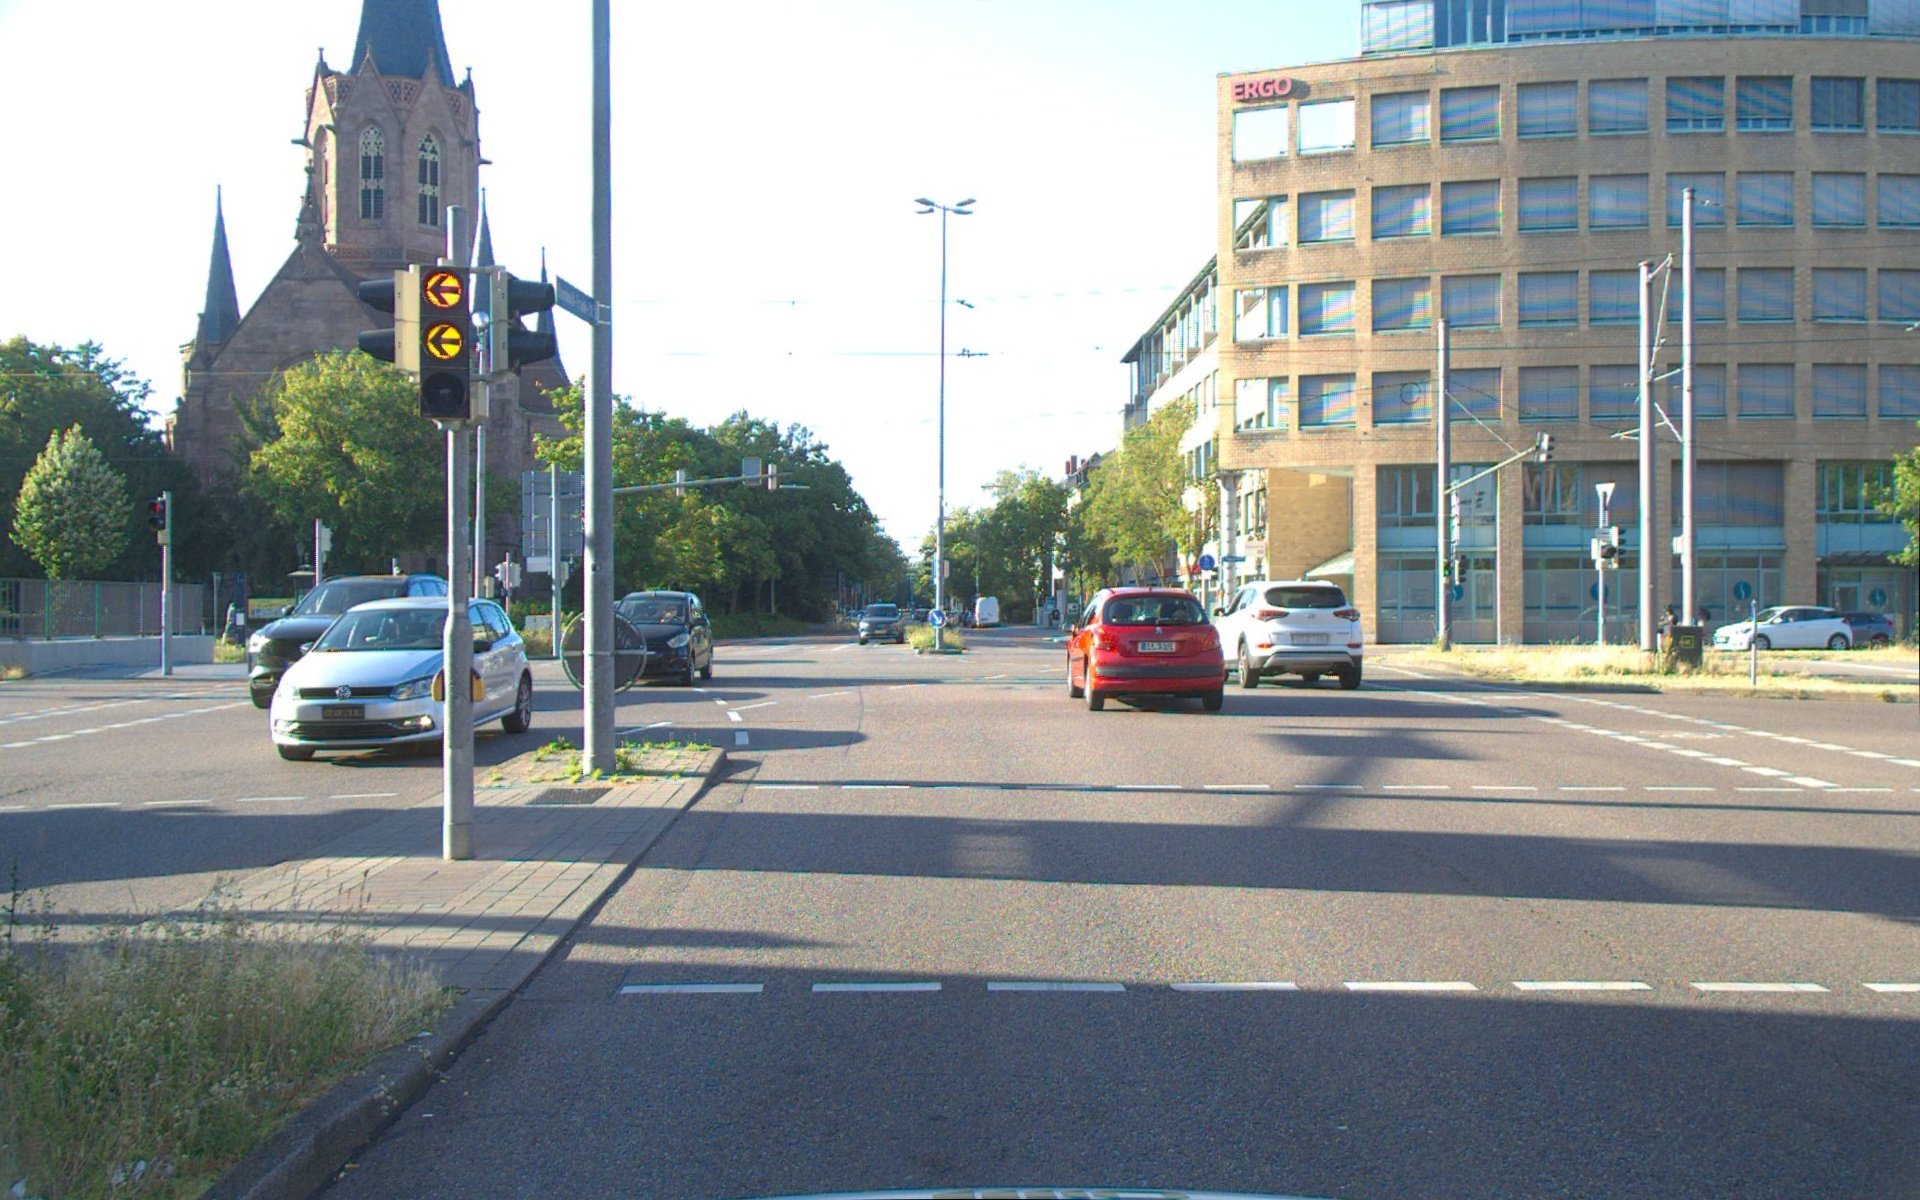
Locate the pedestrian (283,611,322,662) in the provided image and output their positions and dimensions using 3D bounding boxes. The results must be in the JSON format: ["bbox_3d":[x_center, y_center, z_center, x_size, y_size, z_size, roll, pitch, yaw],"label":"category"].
[{"bbox_3d":[-22.384,1.240,56.309,0.997,1.726,0.841,1,-1,37],"label":"pedestrian"}]

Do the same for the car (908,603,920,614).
[{"bbox_3d":[-6.964,1.303,250.982,1.848,1.700,3.999,1,0,-1],"label":"car"}]

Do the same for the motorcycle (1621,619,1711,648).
[{"bbox_3d":[24.294,1.146,56.925,2.663,0.981,1.031,0,-1,-2],"label":"motorcycle"}]

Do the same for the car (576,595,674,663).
[{"bbox_3d":[-8.583,0.699,42.716,1.758,1.593,4.146,-1,1,-2],"label":"car"}]

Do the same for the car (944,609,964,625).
[{"bbox_3d":[-0.510,1.406,135.337,1.562,1.289,3.266,0,0,-1],"label":"car"}]

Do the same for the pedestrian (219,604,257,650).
[{"bbox_3d":[-27.752,1.046,63.586,0.992,1.726,0.845,1,-1,11],"label":"pedestrian"}]

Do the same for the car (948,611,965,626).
[{"bbox_3d":[-0.313,1.695,150.572,1.562,1.289,3.266,0,0,-1],"label":"car"}]

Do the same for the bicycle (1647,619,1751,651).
[{"bbox_3d":[24.262,1.140,54.351,2.901,1.018,1.153,0,0,-3],"label":"bicycle"}]

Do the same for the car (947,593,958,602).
[{"bbox_3d":[-1.145,-0.359,255.024,1.562,1.289,3.266,0,0,-1],"label":"car"}]

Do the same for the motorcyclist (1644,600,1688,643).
[{"bbox_3d":[24.307,0.747,56.931,1.044,1.460,1.031,0,-1,-2],"label":"motorcyclist"}]

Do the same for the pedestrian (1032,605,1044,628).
[{"bbox_3d":[6.160,1.316,130.770,0.830,1.835,0.775,0,0,-1],"label":"pedestrian"}]

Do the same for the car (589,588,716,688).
[{"bbox_3d":[-5.212,0.601,28.387,1.546,1.571,3.476,-2,0,-1],"label":"car"}]

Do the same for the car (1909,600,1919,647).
[{"bbox_3d":[32.422,0.736,52.185,3.970,1.518,1.819,0,-1,-2],"label":"car"}]

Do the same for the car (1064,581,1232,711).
[{"bbox_3d":[2.323,0.550,21.344,1.636,1.488,3.999,1,0,-1],"label":"car"}]

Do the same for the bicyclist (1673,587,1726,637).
[{"bbox_3d":[24.304,0.392,54.350,1.198,1.599,1.153,0,0,-3],"label":"bicyclist"}]

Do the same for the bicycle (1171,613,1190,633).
[{"bbox_3d":[11.295,1.167,84.706,0.633,1.012,2.080,0,0,-2],"label":"bicycle"}]

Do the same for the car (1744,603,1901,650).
[{"bbox_3d":[29.755,0.898,57.119,4.390,1.564,1.986,0,-1,-1],"label":"car"}]

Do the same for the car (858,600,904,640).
[{"bbox_3d":[-3.535,0.922,74.751,1.953,1.754,5.029,-1,-1,-2],"label":"car"}]

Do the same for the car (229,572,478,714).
[{"bbox_3d":[-8.367,0.523,23.317,1.779,1.740,4.785,-2,0,-1],"label":"car"}]

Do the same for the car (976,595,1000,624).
[{"bbox_3d":[2.402,0.854,144.531,1.953,2.483,3.999,1,0,-1],"label":"car"}]

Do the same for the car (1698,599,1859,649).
[{"bbox_3d":[25.662,0.759,51.928,4.080,1.518,1.994,0,-1,-3],"label":"car"}]

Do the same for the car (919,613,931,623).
[{"bbox_3d":[-4.462,2.297,212.839,1.562,1.289,3.266,0,0,-1],"label":"car"}]

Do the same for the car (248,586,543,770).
[{"bbox_3d":[-5.447,0.668,16.466,1.641,1.571,3.805,-2,0,-1],"label":"car"}]

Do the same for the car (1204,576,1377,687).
[{"bbox_3d":[5.279,0.487,26.964,1.877,1.635,4.268,1,0,-1],"label":"car"}]
